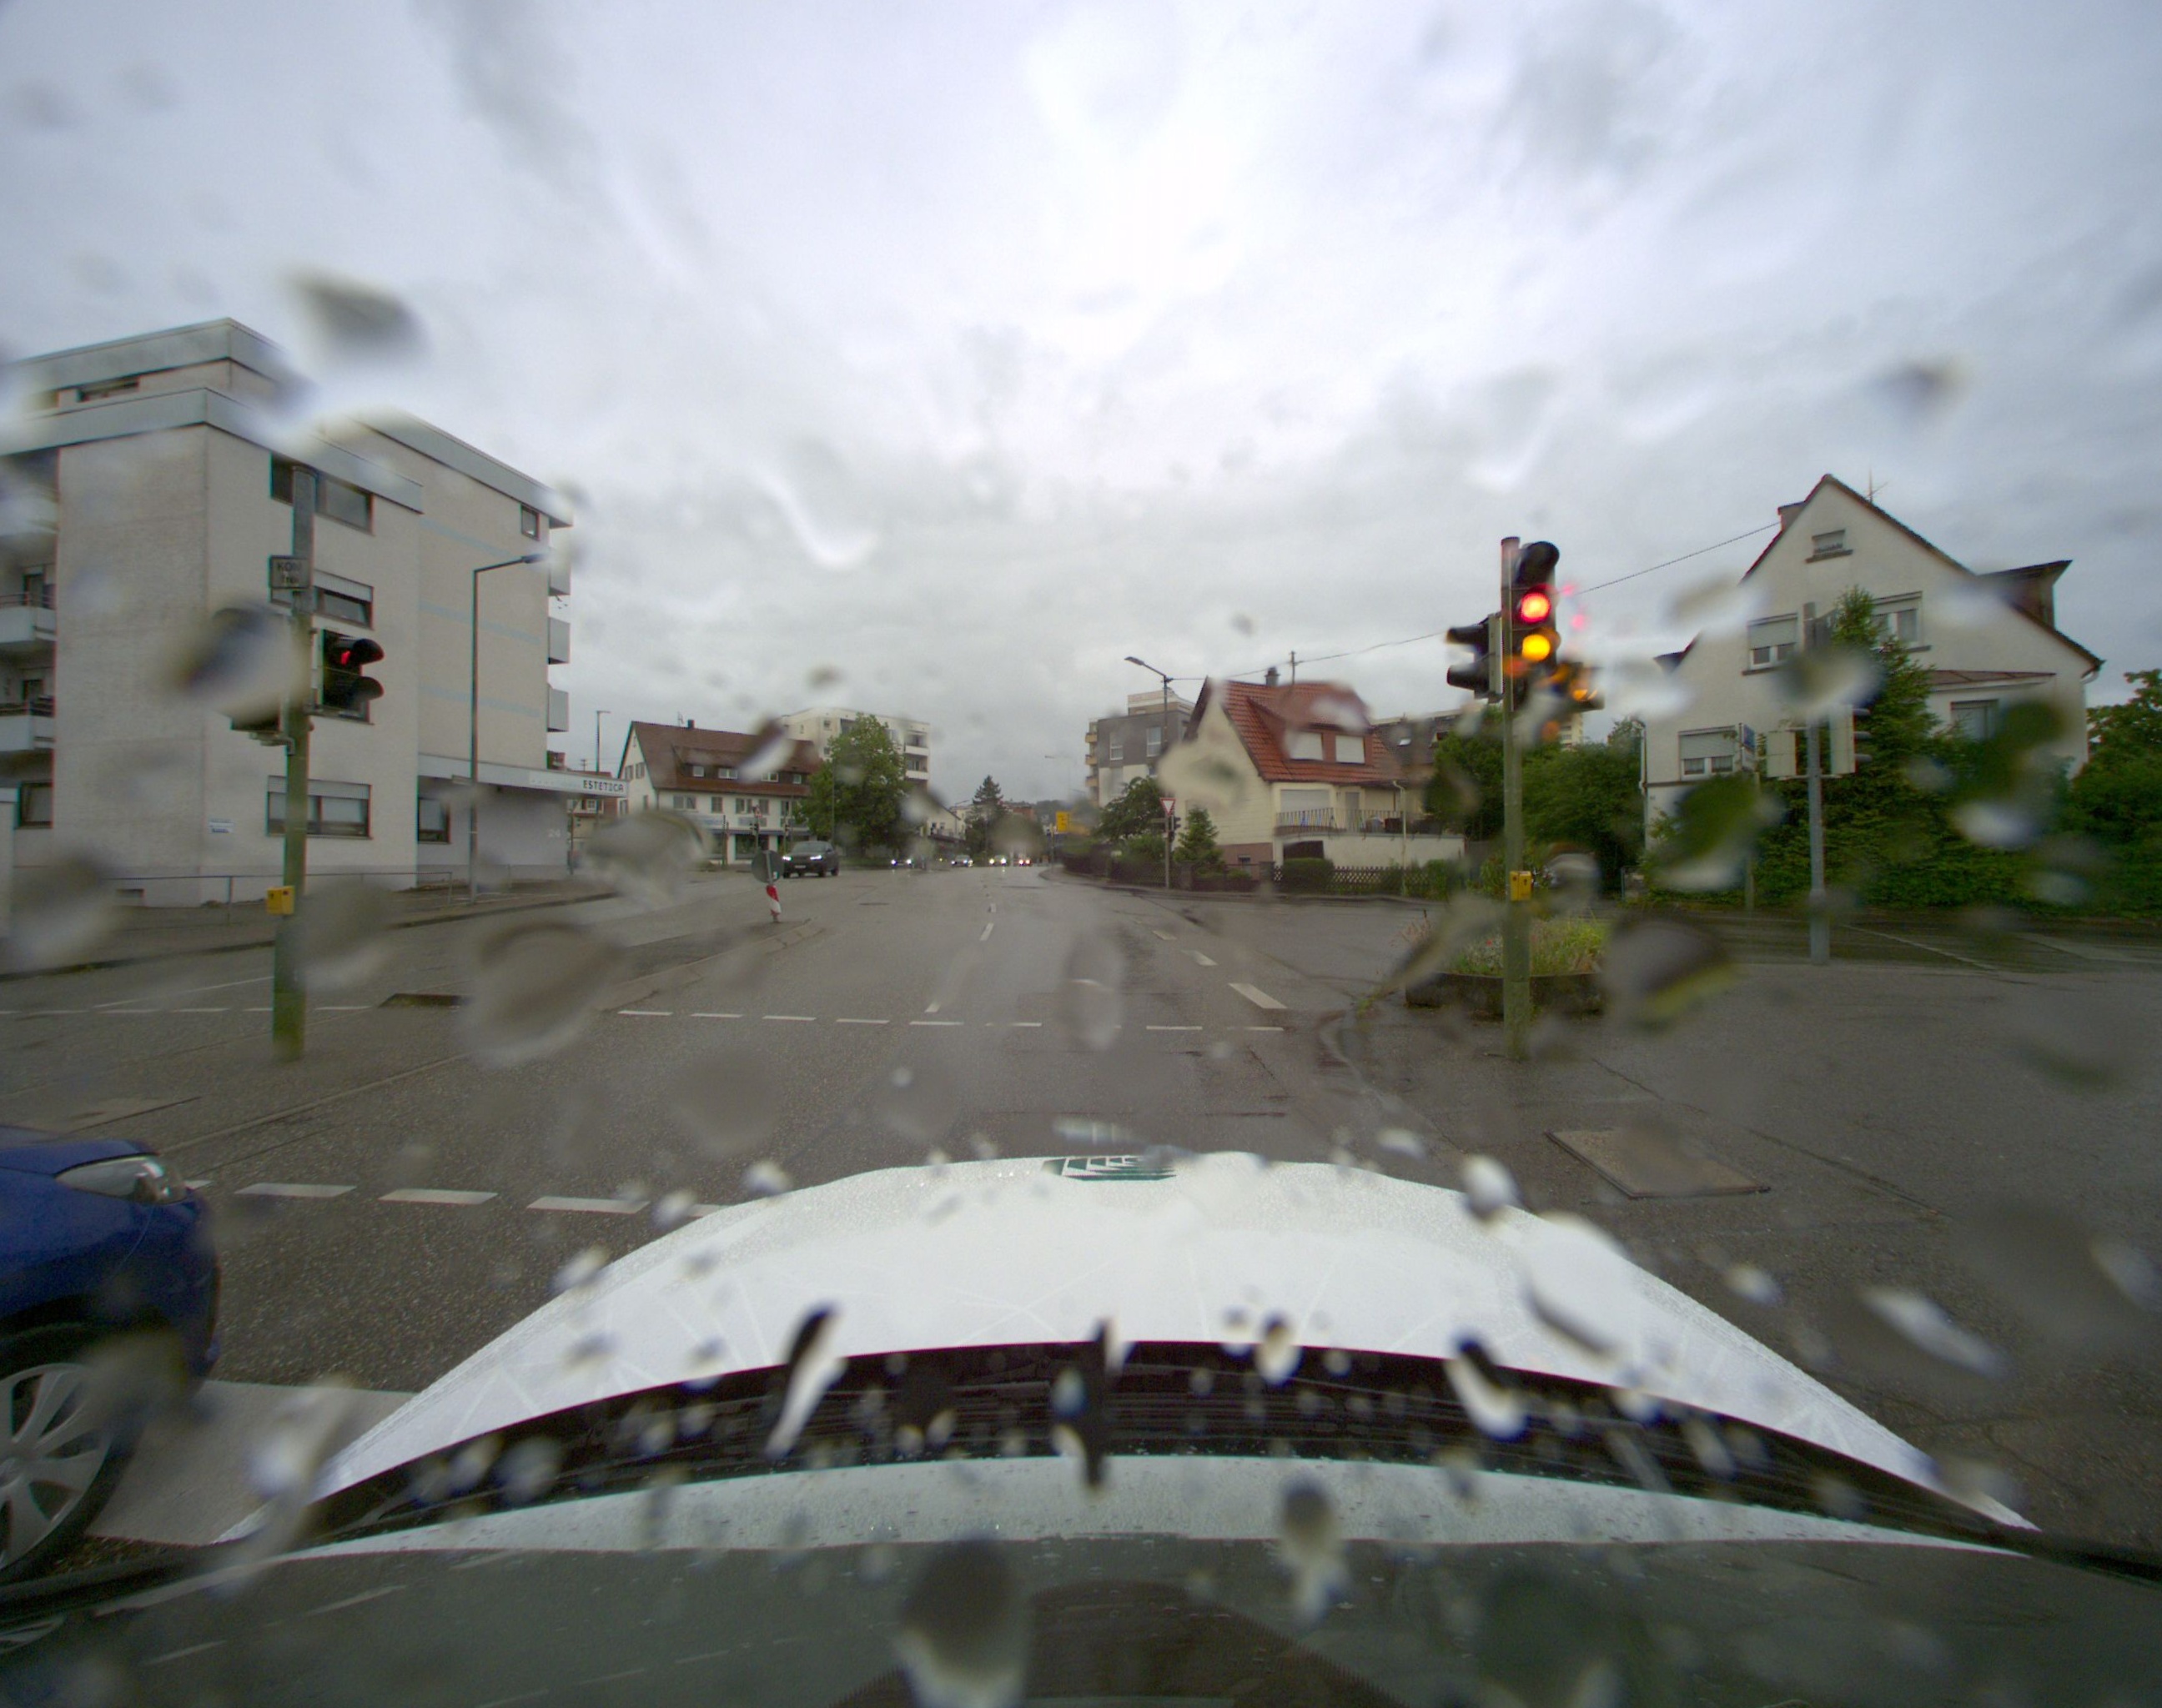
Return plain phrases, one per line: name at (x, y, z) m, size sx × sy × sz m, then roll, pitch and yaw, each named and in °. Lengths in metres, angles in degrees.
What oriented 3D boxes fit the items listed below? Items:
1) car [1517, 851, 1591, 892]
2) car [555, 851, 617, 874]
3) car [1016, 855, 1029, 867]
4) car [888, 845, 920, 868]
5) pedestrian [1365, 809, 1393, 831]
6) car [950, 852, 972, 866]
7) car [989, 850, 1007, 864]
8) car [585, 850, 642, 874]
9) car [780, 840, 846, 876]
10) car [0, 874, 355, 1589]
car at (17.109, 0.590, 29.383) m, size 1.794 × 1.362 × 4.025 m, roll -1°, pitch -1°, yaw 37°
car at (-41.219, 0.665, 67.811) m, size 4.093 × 1.843 × 1.864 m, roll 0°, pitch -1°, yaw -44°
car at (-9.725, 1.173, 135.565) m, size 1.989 × 1.812 × 3.996 m, roll 0°, pitch -1°, yaw -3°
car at (-14.984, 0.194, 69.111) m, size 1.989 × 1.904 × 3.996 m, roll 0°, pitch -1°, yaw -3°
pedestrian at (12.768, -1.442, 34.868) m, size 0.918 × 0.883 × 0.632 m, roll 0°, pitch -3°, yaw -18°
car at (-13.317, 0.571, 90.341) m, size 1.989 × 1.463 × 3.996 m, roll 0°, pitch 0°, yaw -3°
car at (-10.234, 0.403, 101.195) m, size 1.989 × 1.679 × 3.996 m, roll 0°, pitch -1°, yaw -3°
car at (-38.445, 0.626, 66.989) m, size 3.706 × 1.920 × 1.864 m, roll 0°, pitch -1°, yaw -44°
car at (-13.518, 0.209, 41.457) m, size 1.990 × 1.737 × 5.173 m, roll 0°, pitch 0°, yaw -4°
car at (-2.952, 0.779, 0.736) m, size 1.499 × 1.413 × 3.365 m, roll 0°, pitch 0°, yaw 2°
